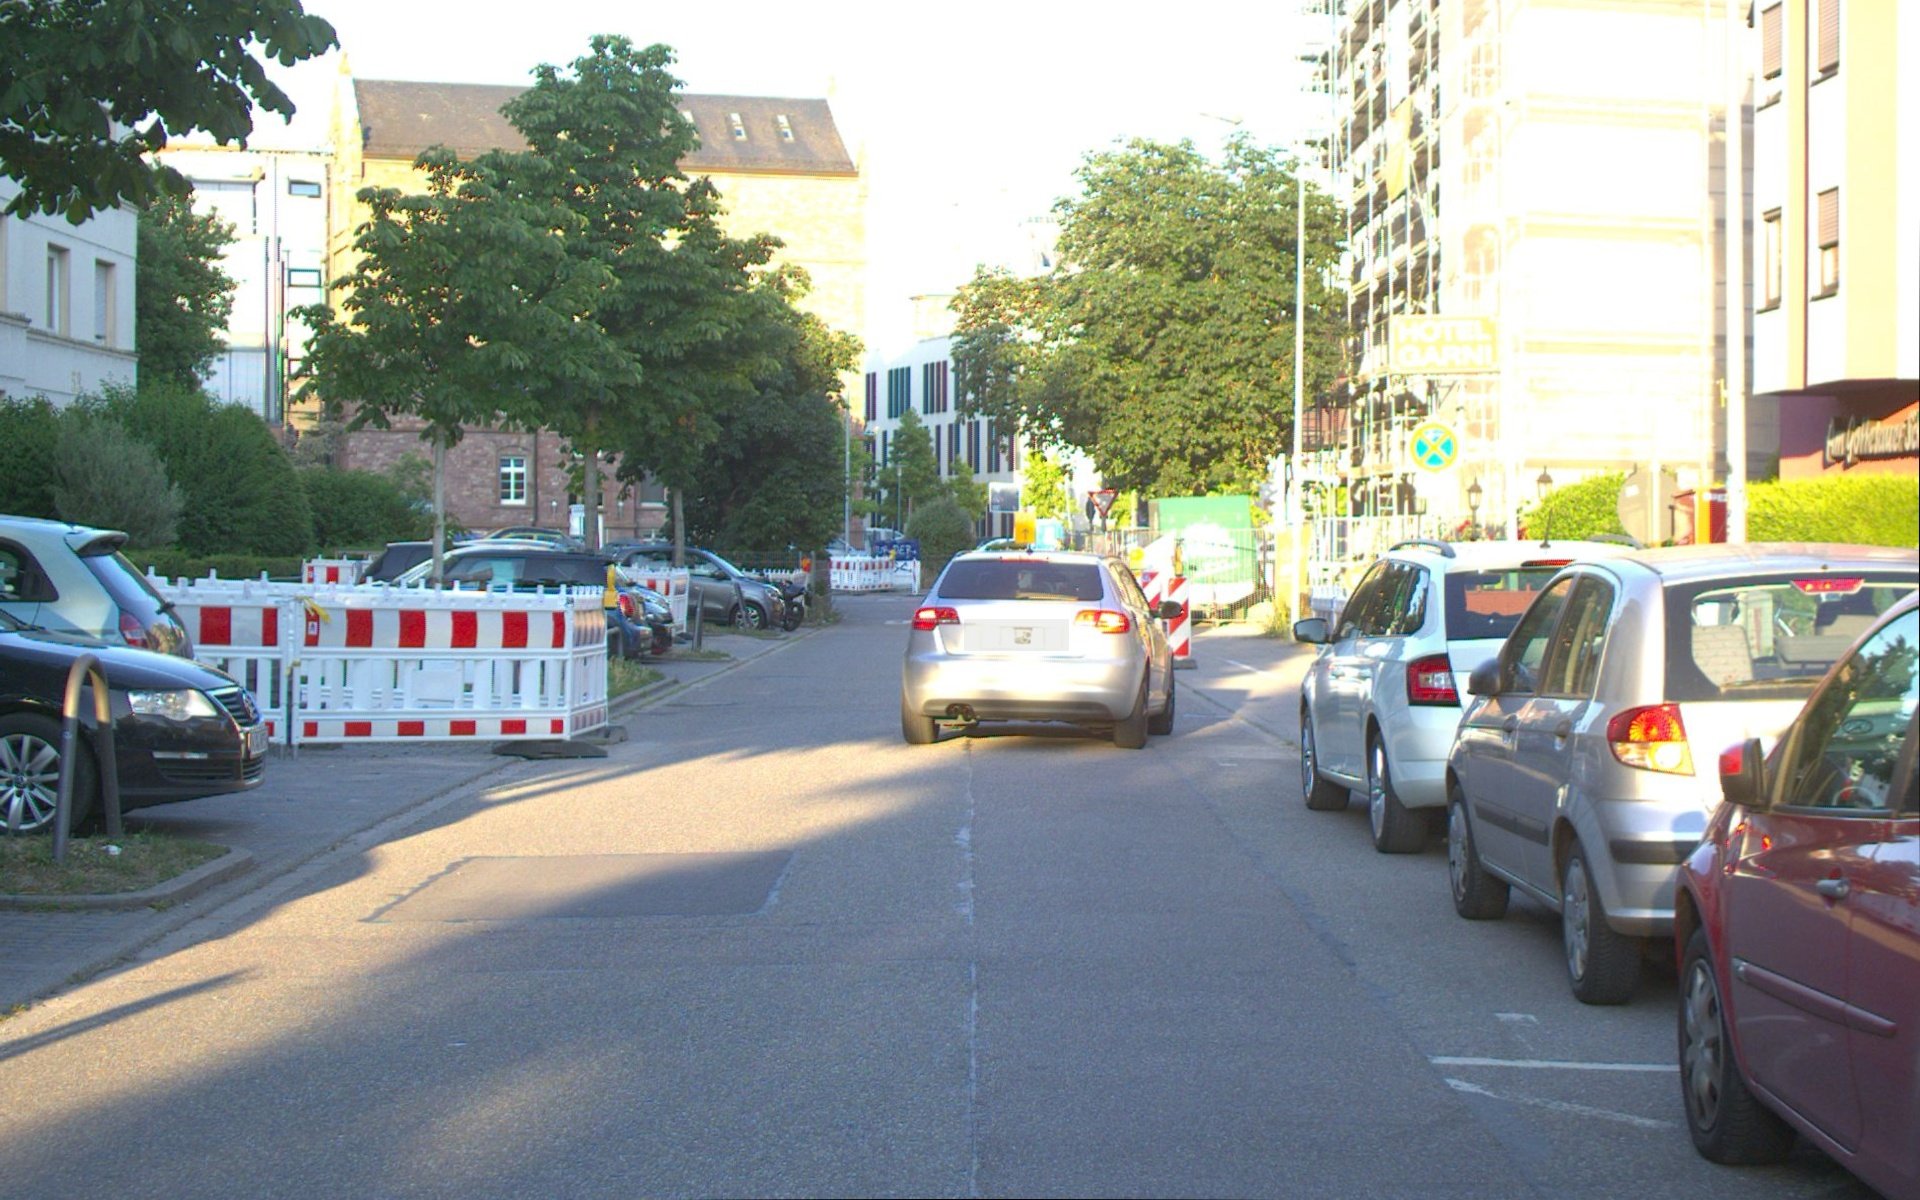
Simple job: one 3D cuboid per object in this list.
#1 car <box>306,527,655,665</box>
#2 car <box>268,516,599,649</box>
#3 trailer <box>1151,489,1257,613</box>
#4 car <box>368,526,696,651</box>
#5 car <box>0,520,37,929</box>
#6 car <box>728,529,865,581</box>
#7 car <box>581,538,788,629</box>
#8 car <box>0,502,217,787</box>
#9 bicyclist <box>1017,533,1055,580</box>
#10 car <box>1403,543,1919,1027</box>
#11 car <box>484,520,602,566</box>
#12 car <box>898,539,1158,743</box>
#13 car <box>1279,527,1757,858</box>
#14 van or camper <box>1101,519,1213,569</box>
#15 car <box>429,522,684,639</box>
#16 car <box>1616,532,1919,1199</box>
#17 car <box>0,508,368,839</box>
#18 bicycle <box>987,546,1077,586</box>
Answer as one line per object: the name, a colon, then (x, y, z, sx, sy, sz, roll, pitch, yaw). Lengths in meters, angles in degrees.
car: (-5.450, -0.042, 39.337, 3.677, 1.440, 1.728, 1, 0, 2)
car: (-6.354, -0.206, 41.742, 3.677, 1.479, 1.728, 1, 0, 2)
trailer: (5.096, -1.045, 72.274, 1.993, 2.531, 4.186, 0, 1, 1)
car: (-5.538, -0.144, 44.782, 3.978, 1.484, 1.728, 1, 0, 2)
car: (-5.494, 0.395, 11.983, 4.032, 1.479, 1.728, 2, 1, 2)
car: (-5.494, -1.514, 115.491, 4.268, 1.703, 1.703, 0, 1, -18)
car: (-5.009, -0.314, 62.850, 3.623, 1.551, 1.693, 1, 1, 0)
car: (-6.188, 0.173, 19.044, 3.700, 1.479, 1.728, 2, 1, 2)
bicyclist: (2.364, -1.353, 106.970, 1.060, 1.453, 0.791, 0, 1, -7)
car: (2.782, 0.535, 12.358, 1.797, 1.464, 3.844, 0, 1, -1)
car: (-13.741, -1.871, 113.261, 3.630, 1.498, 1.638, 0, 1, -16)
car: (0.498, 0.249, 25.699, 1.776, 1.392, 4.107, 0, 1, 1)
car: (2.672, 0.380, 17.313, 1.614, 1.464, 3.997, 0, 1, -2)
van or camper: (9.233, -2.638, 161.201, 4.961, 2.233, 1.687, 1, 1, -21)
car: (-5.741, -0.274, 49.239, 3.474, 1.561, 1.728, 1, 0, -3)
car: (2.544, 0.603, 6.992, 1.740, 1.464, 3.759, 0, 1, 1)
car: (-5.328, 0.270, 16.767, 4.507, 1.479, 1.728, 2, 1, 2)
bicycle: (2.241, -1.060, 106.955, 2.723, 1.214, 0.711, 0, 1, -7)
